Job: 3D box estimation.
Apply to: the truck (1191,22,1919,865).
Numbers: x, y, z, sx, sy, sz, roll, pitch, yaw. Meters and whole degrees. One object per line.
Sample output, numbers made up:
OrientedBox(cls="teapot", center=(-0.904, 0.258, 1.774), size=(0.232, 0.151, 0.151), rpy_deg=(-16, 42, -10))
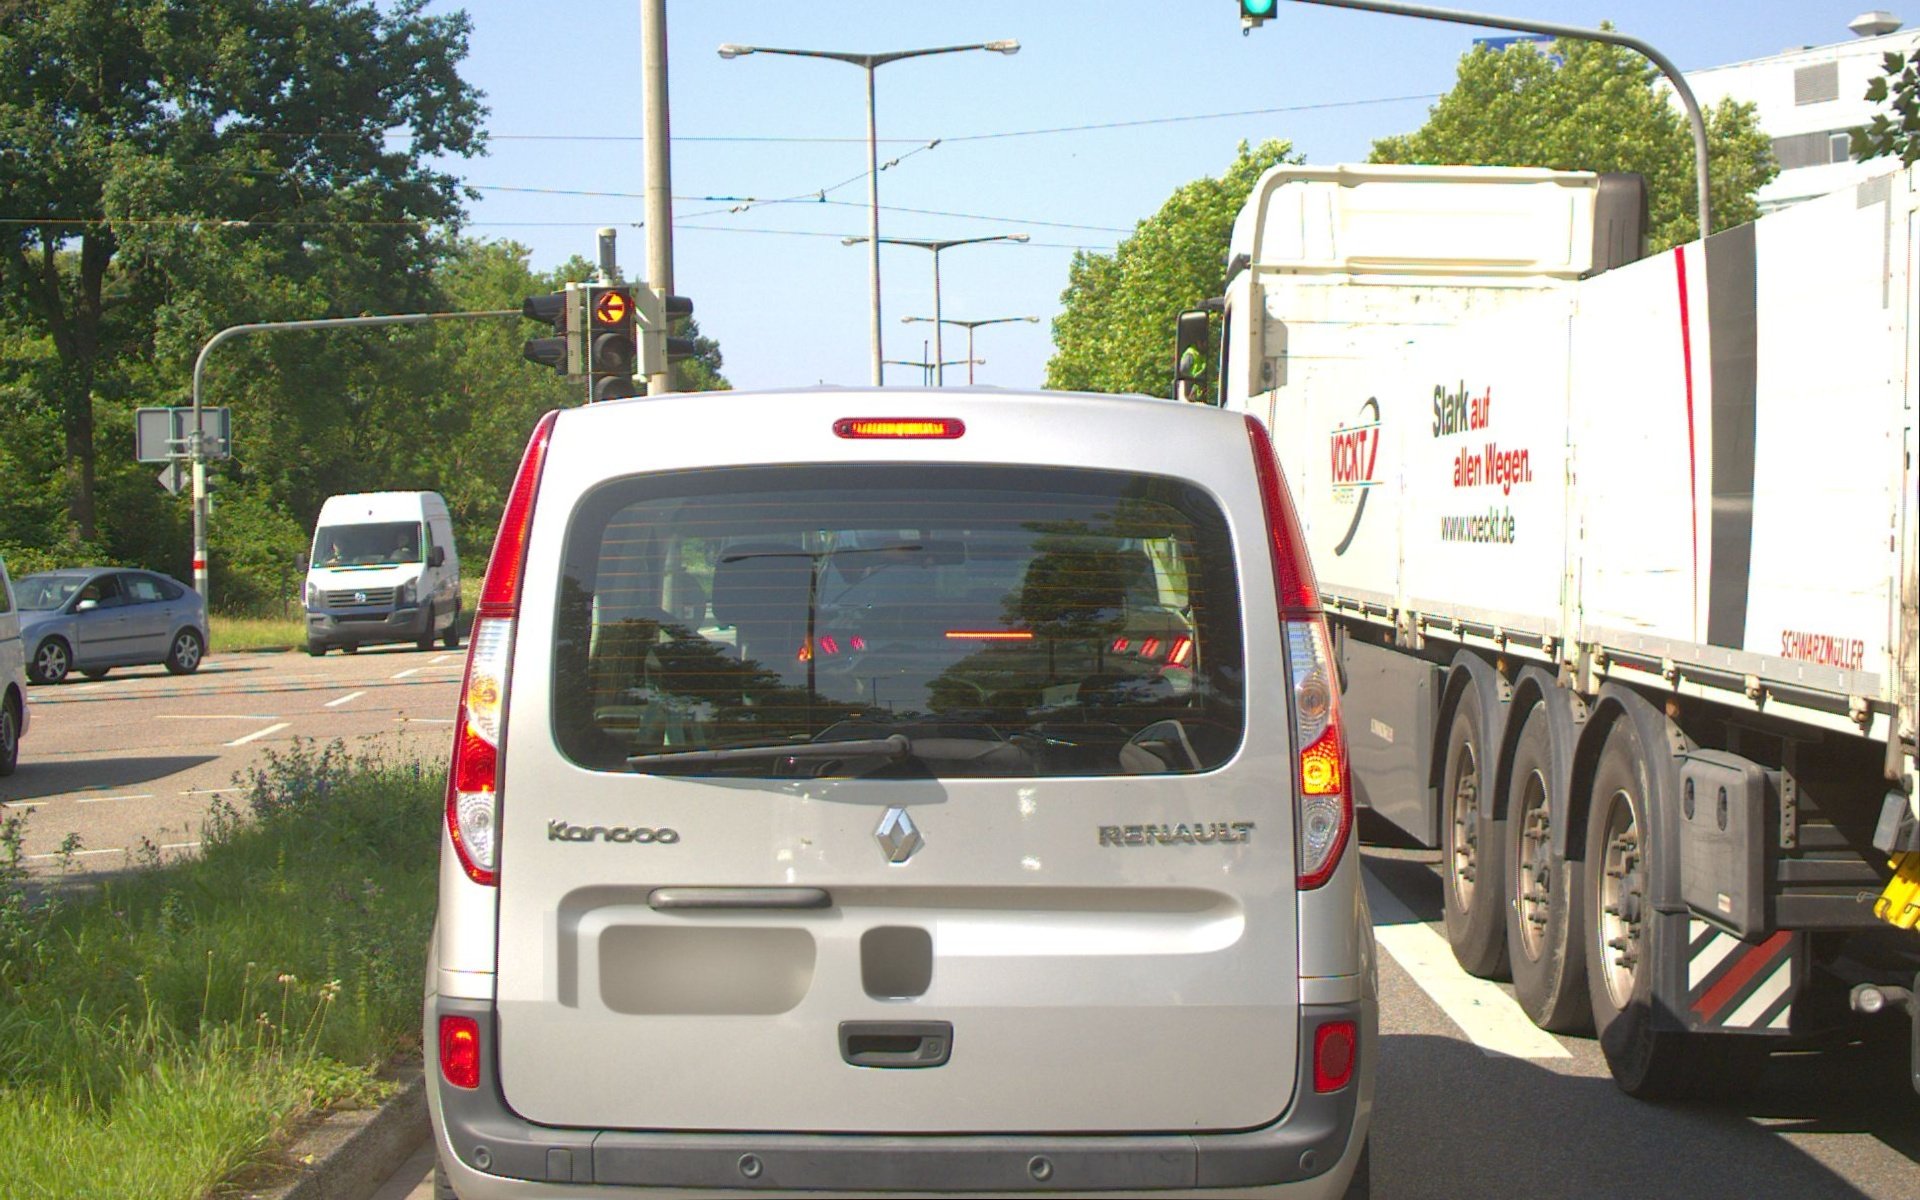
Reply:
OrientedBox(cls="truck", center=(3.109, -0.741, 19.027), size=(3.071, 3.745, 7.476), rpy_deg=(0, 1, -1))

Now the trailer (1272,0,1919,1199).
OrientedBox(cls="trailer", center=(3.116, -0.740, 12.050), size=(3.016, 3.728, 12.240), rpy_deg=(0, 1, 0))

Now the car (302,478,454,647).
OrientedBox(cls="car", center=(-9.469, -0.620, 56.313), size=(2.058, 2.605, 5.871), rpy_deg=(0, 1, -6))

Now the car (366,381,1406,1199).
OrientedBox(cls="car", center=(-0.132, 0.489, 7.765), size=(1.749, 1.766, 3.949), rpy_deg=(0, 1, 0))

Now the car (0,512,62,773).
OrientedBox(cls="car", center=(-7.928, 0.367, 23.936), size=(1.993, 1.884, 4.988), rpy_deg=(-3, 1, -1))

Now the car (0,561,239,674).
OrientedBox(cls="car", center=(-11.617, 0.196, 45.143), size=(1.914, 1.404, 4.221), rpy_deg=(0, 1, 29))
